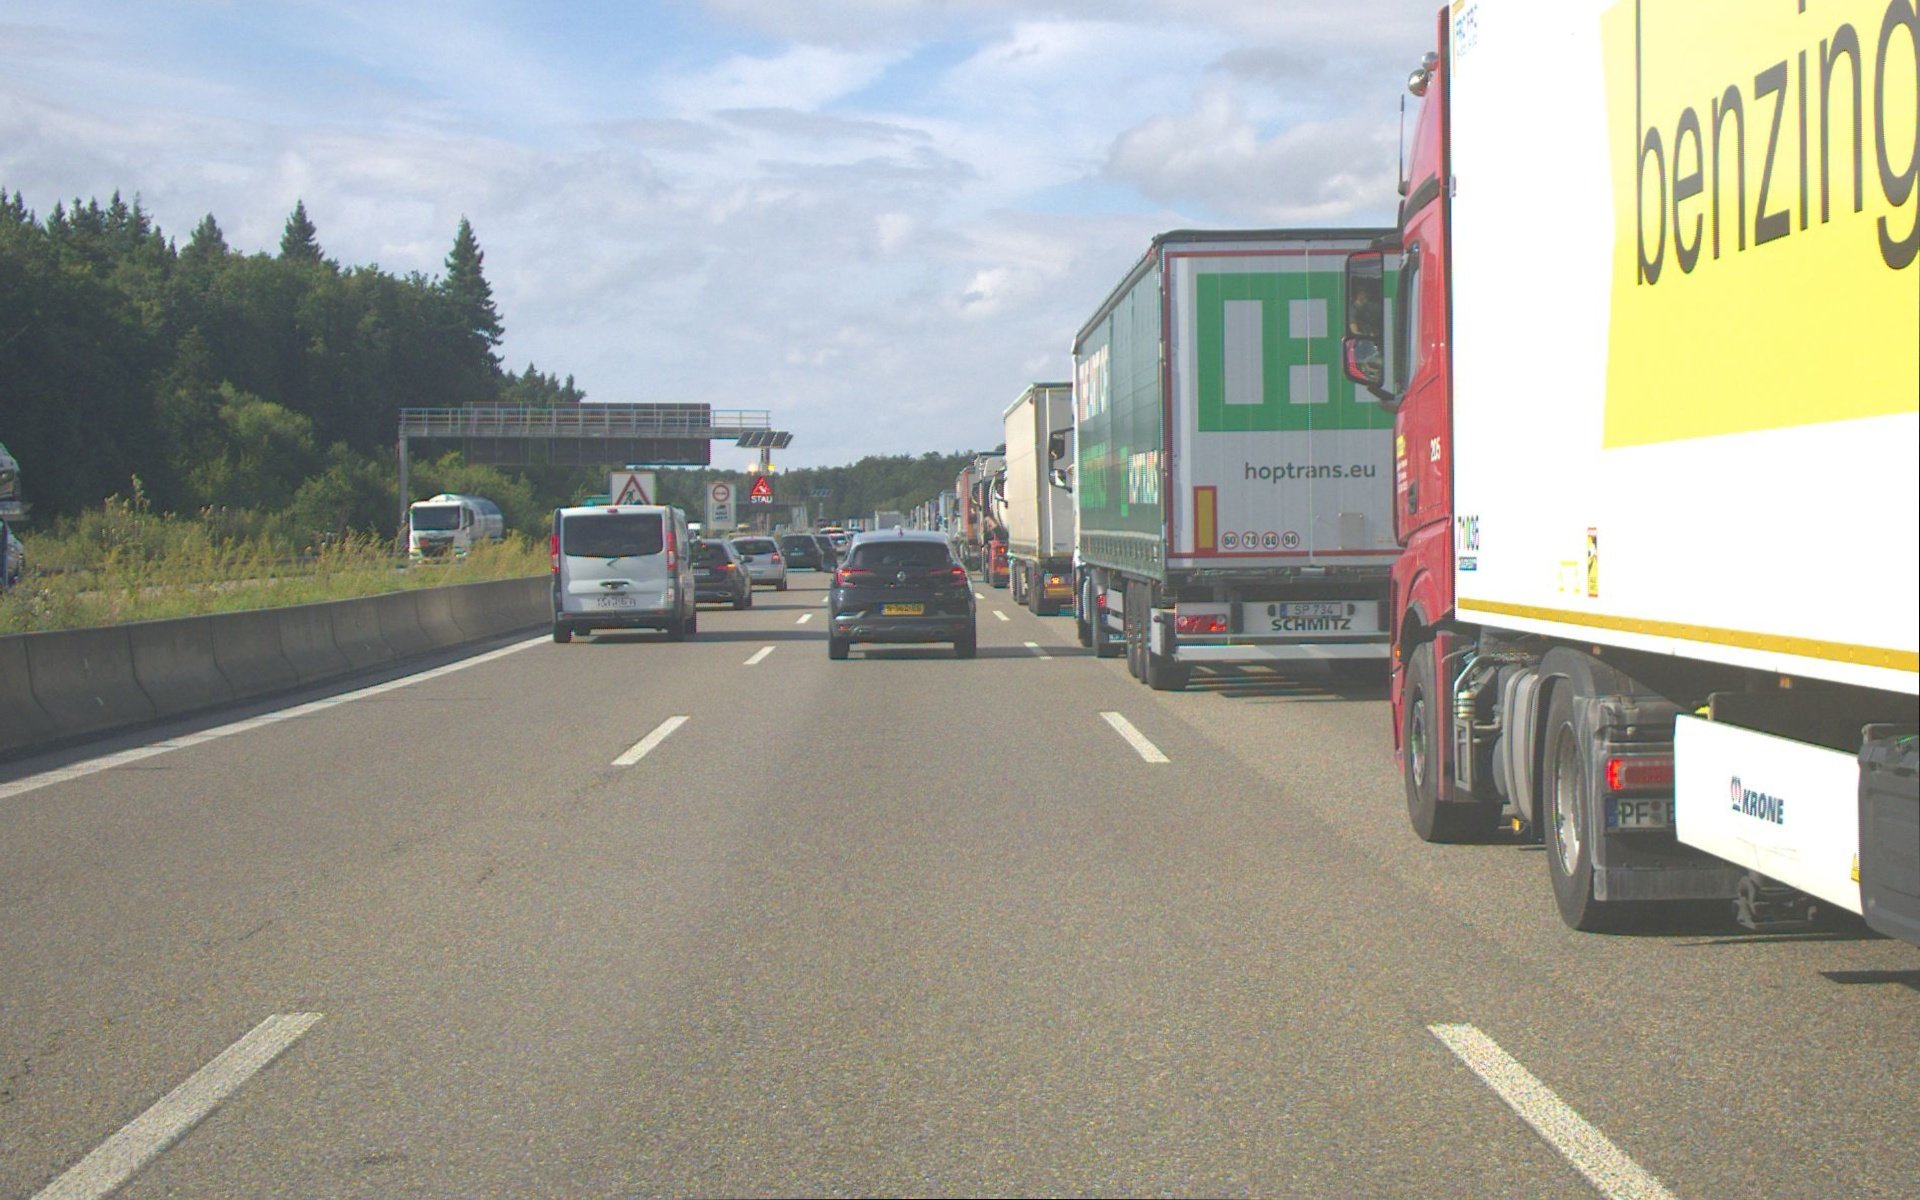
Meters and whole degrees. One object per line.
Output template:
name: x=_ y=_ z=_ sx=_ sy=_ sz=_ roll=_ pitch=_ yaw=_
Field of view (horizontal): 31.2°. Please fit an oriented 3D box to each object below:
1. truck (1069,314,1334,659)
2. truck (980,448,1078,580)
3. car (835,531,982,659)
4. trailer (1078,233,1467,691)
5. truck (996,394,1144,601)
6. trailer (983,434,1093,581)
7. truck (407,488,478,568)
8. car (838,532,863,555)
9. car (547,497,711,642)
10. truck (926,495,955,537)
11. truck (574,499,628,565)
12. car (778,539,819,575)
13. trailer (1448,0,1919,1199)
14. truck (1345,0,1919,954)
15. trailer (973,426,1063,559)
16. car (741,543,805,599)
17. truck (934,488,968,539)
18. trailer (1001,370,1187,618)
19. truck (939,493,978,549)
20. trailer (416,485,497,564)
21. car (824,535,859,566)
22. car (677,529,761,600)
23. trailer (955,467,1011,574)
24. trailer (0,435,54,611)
truck: x=2.826 y=-1.322 z=42.097 sx=2.647 sy=3.855 sz=6.997 roll=0 pitch=1 yaw=-1
truck: x=1.904 y=-2.410 z=97.457 sx=2.533 sy=3.571 sz=6.730 roll=-1 pitch=1 yaw=-1
car: x=-0.638 y=-0.090 z=42.591 sx=1.696 sy=1.478 sz=4.160 roll=1 pitch=1 yaw=-1
trailer: x=2.879 y=-1.262 z=35.783 sx=2.661 sy=3.855 sz=13.395 roll=0 pitch=1 yaw=-1
truck: x=2.213 y=-2.068 z=71.148 sx=2.708 sy=4.046 sz=6.362 roll=-1 pitch=1 yaw=-1
trailer: x=1.982 y=-2.399 z=91.249 sx=2.541 sy=3.641 sz=10.627 roll=-1 pitch=1 yaw=0
truck: x=-21.542 y=-2.994 z=143.345 sx=2.317 sy=3.262 sz=6.106 roll=0 pitch=1 yaw=-3
car: x=-6.492 y=-3.321 z=203.696 sx=1.361 sy=1.296 sz=3.085 roll=2 pitch=1 yaw=-1
car: x=-4.865 y=-0.468 z=51.130 sx=1.933 sy=1.972 sz=5.099 roll=2 pitch=1 yaw=-1
truck: x=-1.472 y=-6.364 z=259.881 sx=1.993 sy=3.042 sz=4.982 roll=2 pitch=1 yaw=0
truck: x=-23.713 y=-4.447 z=227.476 sx=2.711 sy=4.229 sz=10.345 roll=-1 pitch=1 yaw=-2
car: x=-6.255 y=-1.677 z=133.068 sx=1.434 sy=1.305 sz=3.534 roll=2 pitch=1 yaw=-1
trailer: x=3.538 y=-0.607 z=8.053 sx=2.791 sy=3.925 sz=13.070 roll=0 pitch=1 yaw=0
truck: x=3.470 y=-0.732 z=15.234 sx=2.802 sy=3.925 sz=5.826 roll=1 pitch=1 yaw=0
trailer: x=1.890 y=-3.545 z=116.324 sx=2.802 sy=4.229 sz=11.057 roll=-1 pitch=1 yaw=0
car: x=-4.940 y=-0.772 z=91.207 sx=1.500 sy=1.391 sz=3.476 roll=2 pitch=1 yaw=-1
truck: x=-0.580 y=-5.414 z=215.592 sx=1.993 sy=3.042 sz=4.982 roll=2 pitch=1 yaw=0
trailer: x=2.306 y=-1.900 z=63.601 sx=2.703 sy=4.068 sz=12.945 roll=-1 pitch=1 yaw=-1
truck: x=-0.084 y=-4.318 z=188.231 sx=1.993 sy=2.922 sz=4.982 roll=2 pitch=1 yaw=0
trailer: x=-21.753 y=-3.236 z=148.919 sx=2.321 sy=3.273 sz=10.877 roll=0 pitch=1 yaw=-2
car: x=-5.239 y=-2.197 z=152.571 sx=1.434 sy=1.305 sz=3.534 roll=2 pitch=1 yaw=-1
car: x=-4.889 y=-0.729 z=69.930 sx=1.500 sy=1.391 sz=3.476 roll=1 pitch=1 yaw=-1
trailer: x=0.893 y=-3.196 z=139.854 sx=2.150 sy=4.244 sz=8.440 roll=0 pitch=1 yaw=0
trailer: x=-20.537 y=-1.524 z=68.489 sx=2.798 sy=3.516 sz=8.955 roll=-1 pitch=1 yaw=-2
